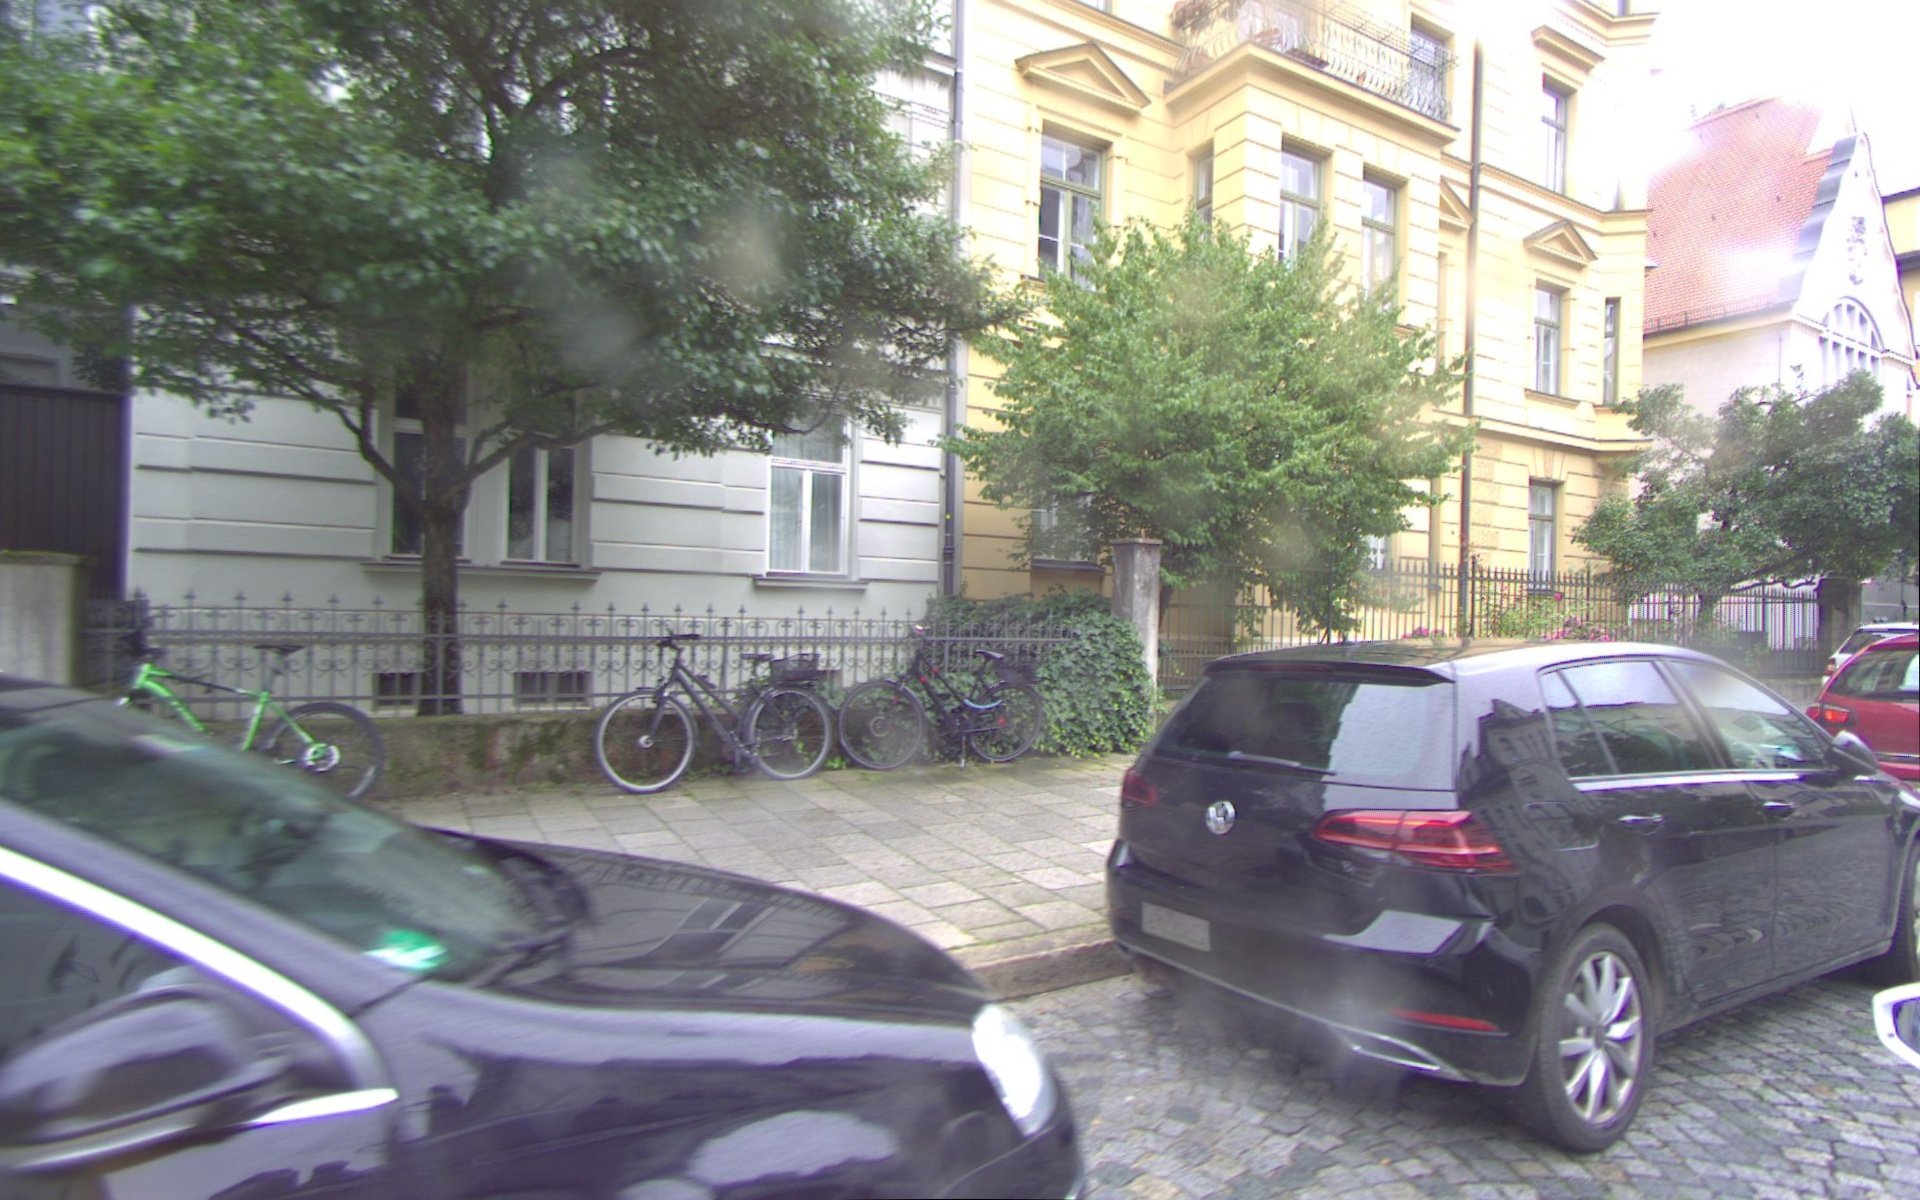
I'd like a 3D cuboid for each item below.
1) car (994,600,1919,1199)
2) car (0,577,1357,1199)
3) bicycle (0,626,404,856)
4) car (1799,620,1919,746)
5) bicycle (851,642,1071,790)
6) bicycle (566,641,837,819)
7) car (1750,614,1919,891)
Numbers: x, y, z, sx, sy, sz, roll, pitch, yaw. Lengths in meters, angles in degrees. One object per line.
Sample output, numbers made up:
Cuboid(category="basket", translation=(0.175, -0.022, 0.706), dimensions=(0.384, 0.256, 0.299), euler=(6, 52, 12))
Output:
Cuboid(category="car", translation=(2.544, 0.890, 4.262), dimensions=(4.590, 1.528, 1.809), euler=(2, -4, -31))
Cuboid(category="car", translation=(-1.695, 0.750, 1.438), dimensions=(4.454, 1.519, 1.803), euler=(1, -2, -29))
Cuboid(category="bicycle", translation=(-4.218, 0.752, 5.763), dimensions=(1.769, 1.139, 0.506), euler=(2, 2, -30))
Cuboid(category="car", translation=(13.368, 1.071, 13.516), dimensions=(4.338, 1.485, 1.833), euler=(2, 0, -31))
Cuboid(category="bicycle", translation=(0.030, 0.901, 8.116), dimensions=(1.739, 1.065, 0.471), euler=(2, 2, -30))
Cuboid(category="bicycle", translation=(-1.796, 0.877, 7.110), dimensions=(1.769, 1.113, 0.431), euler=(2, 2, -31))
Cuboid(category="car", translation=(7.375, 0.931, 6.848), dimensions=(4.145, 1.607, 1.831), euler=(2, -2, -32))
